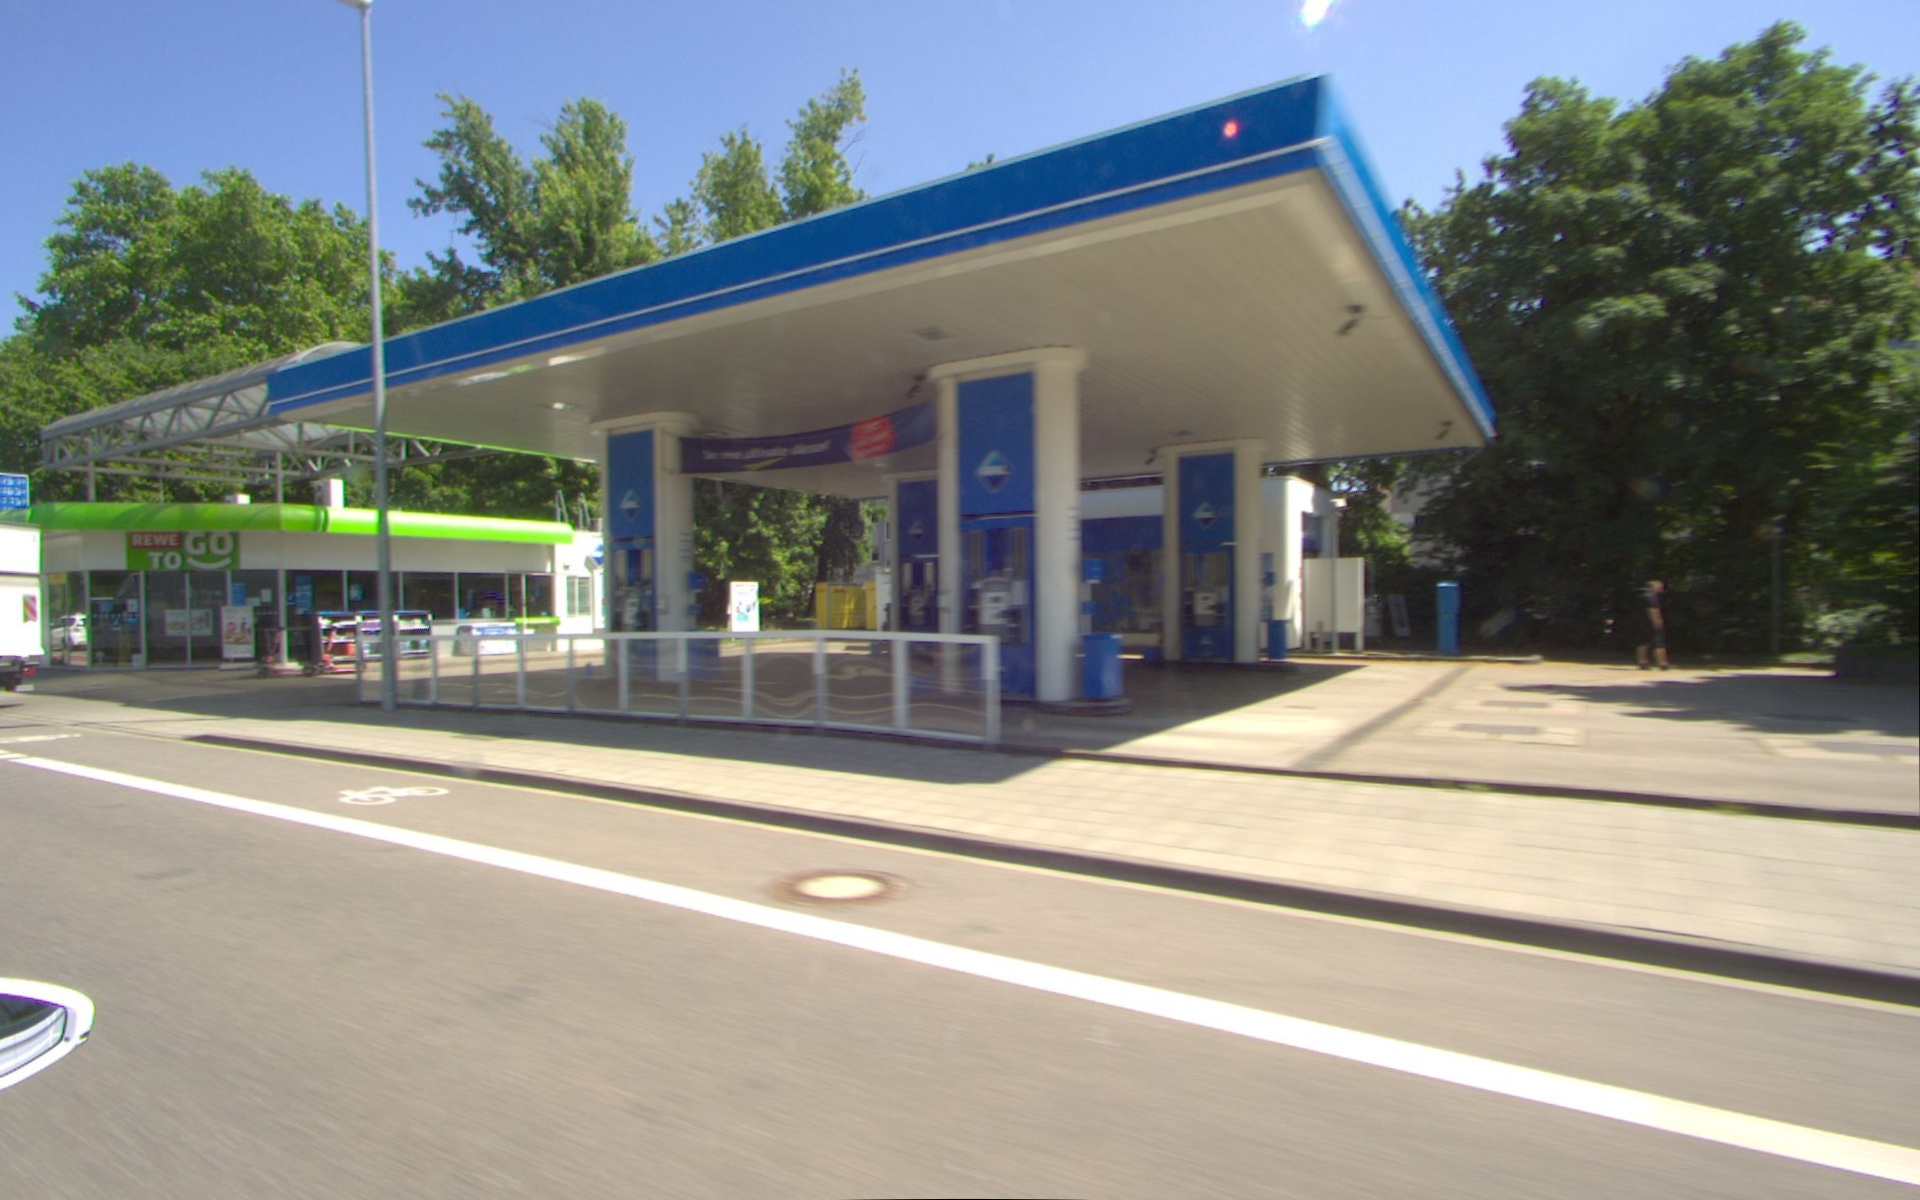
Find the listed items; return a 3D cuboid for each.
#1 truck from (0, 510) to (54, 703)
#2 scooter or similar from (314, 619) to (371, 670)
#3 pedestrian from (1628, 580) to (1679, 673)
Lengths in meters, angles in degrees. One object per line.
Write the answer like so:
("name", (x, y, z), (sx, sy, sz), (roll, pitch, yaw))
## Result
("truck", (-20.918, 0.138, 17.654), (7.680, 3.436, 2.427), (0, 0, 0))
("scooter or similar", (-14.985, 1.067, 24.323), (0.378, 1.192, 1.132), (0, 0, 33))
("pedestrian", (14.632, 0.550, 21.152), (0.825, 1.914, 0.623), (1, 1, 32))
